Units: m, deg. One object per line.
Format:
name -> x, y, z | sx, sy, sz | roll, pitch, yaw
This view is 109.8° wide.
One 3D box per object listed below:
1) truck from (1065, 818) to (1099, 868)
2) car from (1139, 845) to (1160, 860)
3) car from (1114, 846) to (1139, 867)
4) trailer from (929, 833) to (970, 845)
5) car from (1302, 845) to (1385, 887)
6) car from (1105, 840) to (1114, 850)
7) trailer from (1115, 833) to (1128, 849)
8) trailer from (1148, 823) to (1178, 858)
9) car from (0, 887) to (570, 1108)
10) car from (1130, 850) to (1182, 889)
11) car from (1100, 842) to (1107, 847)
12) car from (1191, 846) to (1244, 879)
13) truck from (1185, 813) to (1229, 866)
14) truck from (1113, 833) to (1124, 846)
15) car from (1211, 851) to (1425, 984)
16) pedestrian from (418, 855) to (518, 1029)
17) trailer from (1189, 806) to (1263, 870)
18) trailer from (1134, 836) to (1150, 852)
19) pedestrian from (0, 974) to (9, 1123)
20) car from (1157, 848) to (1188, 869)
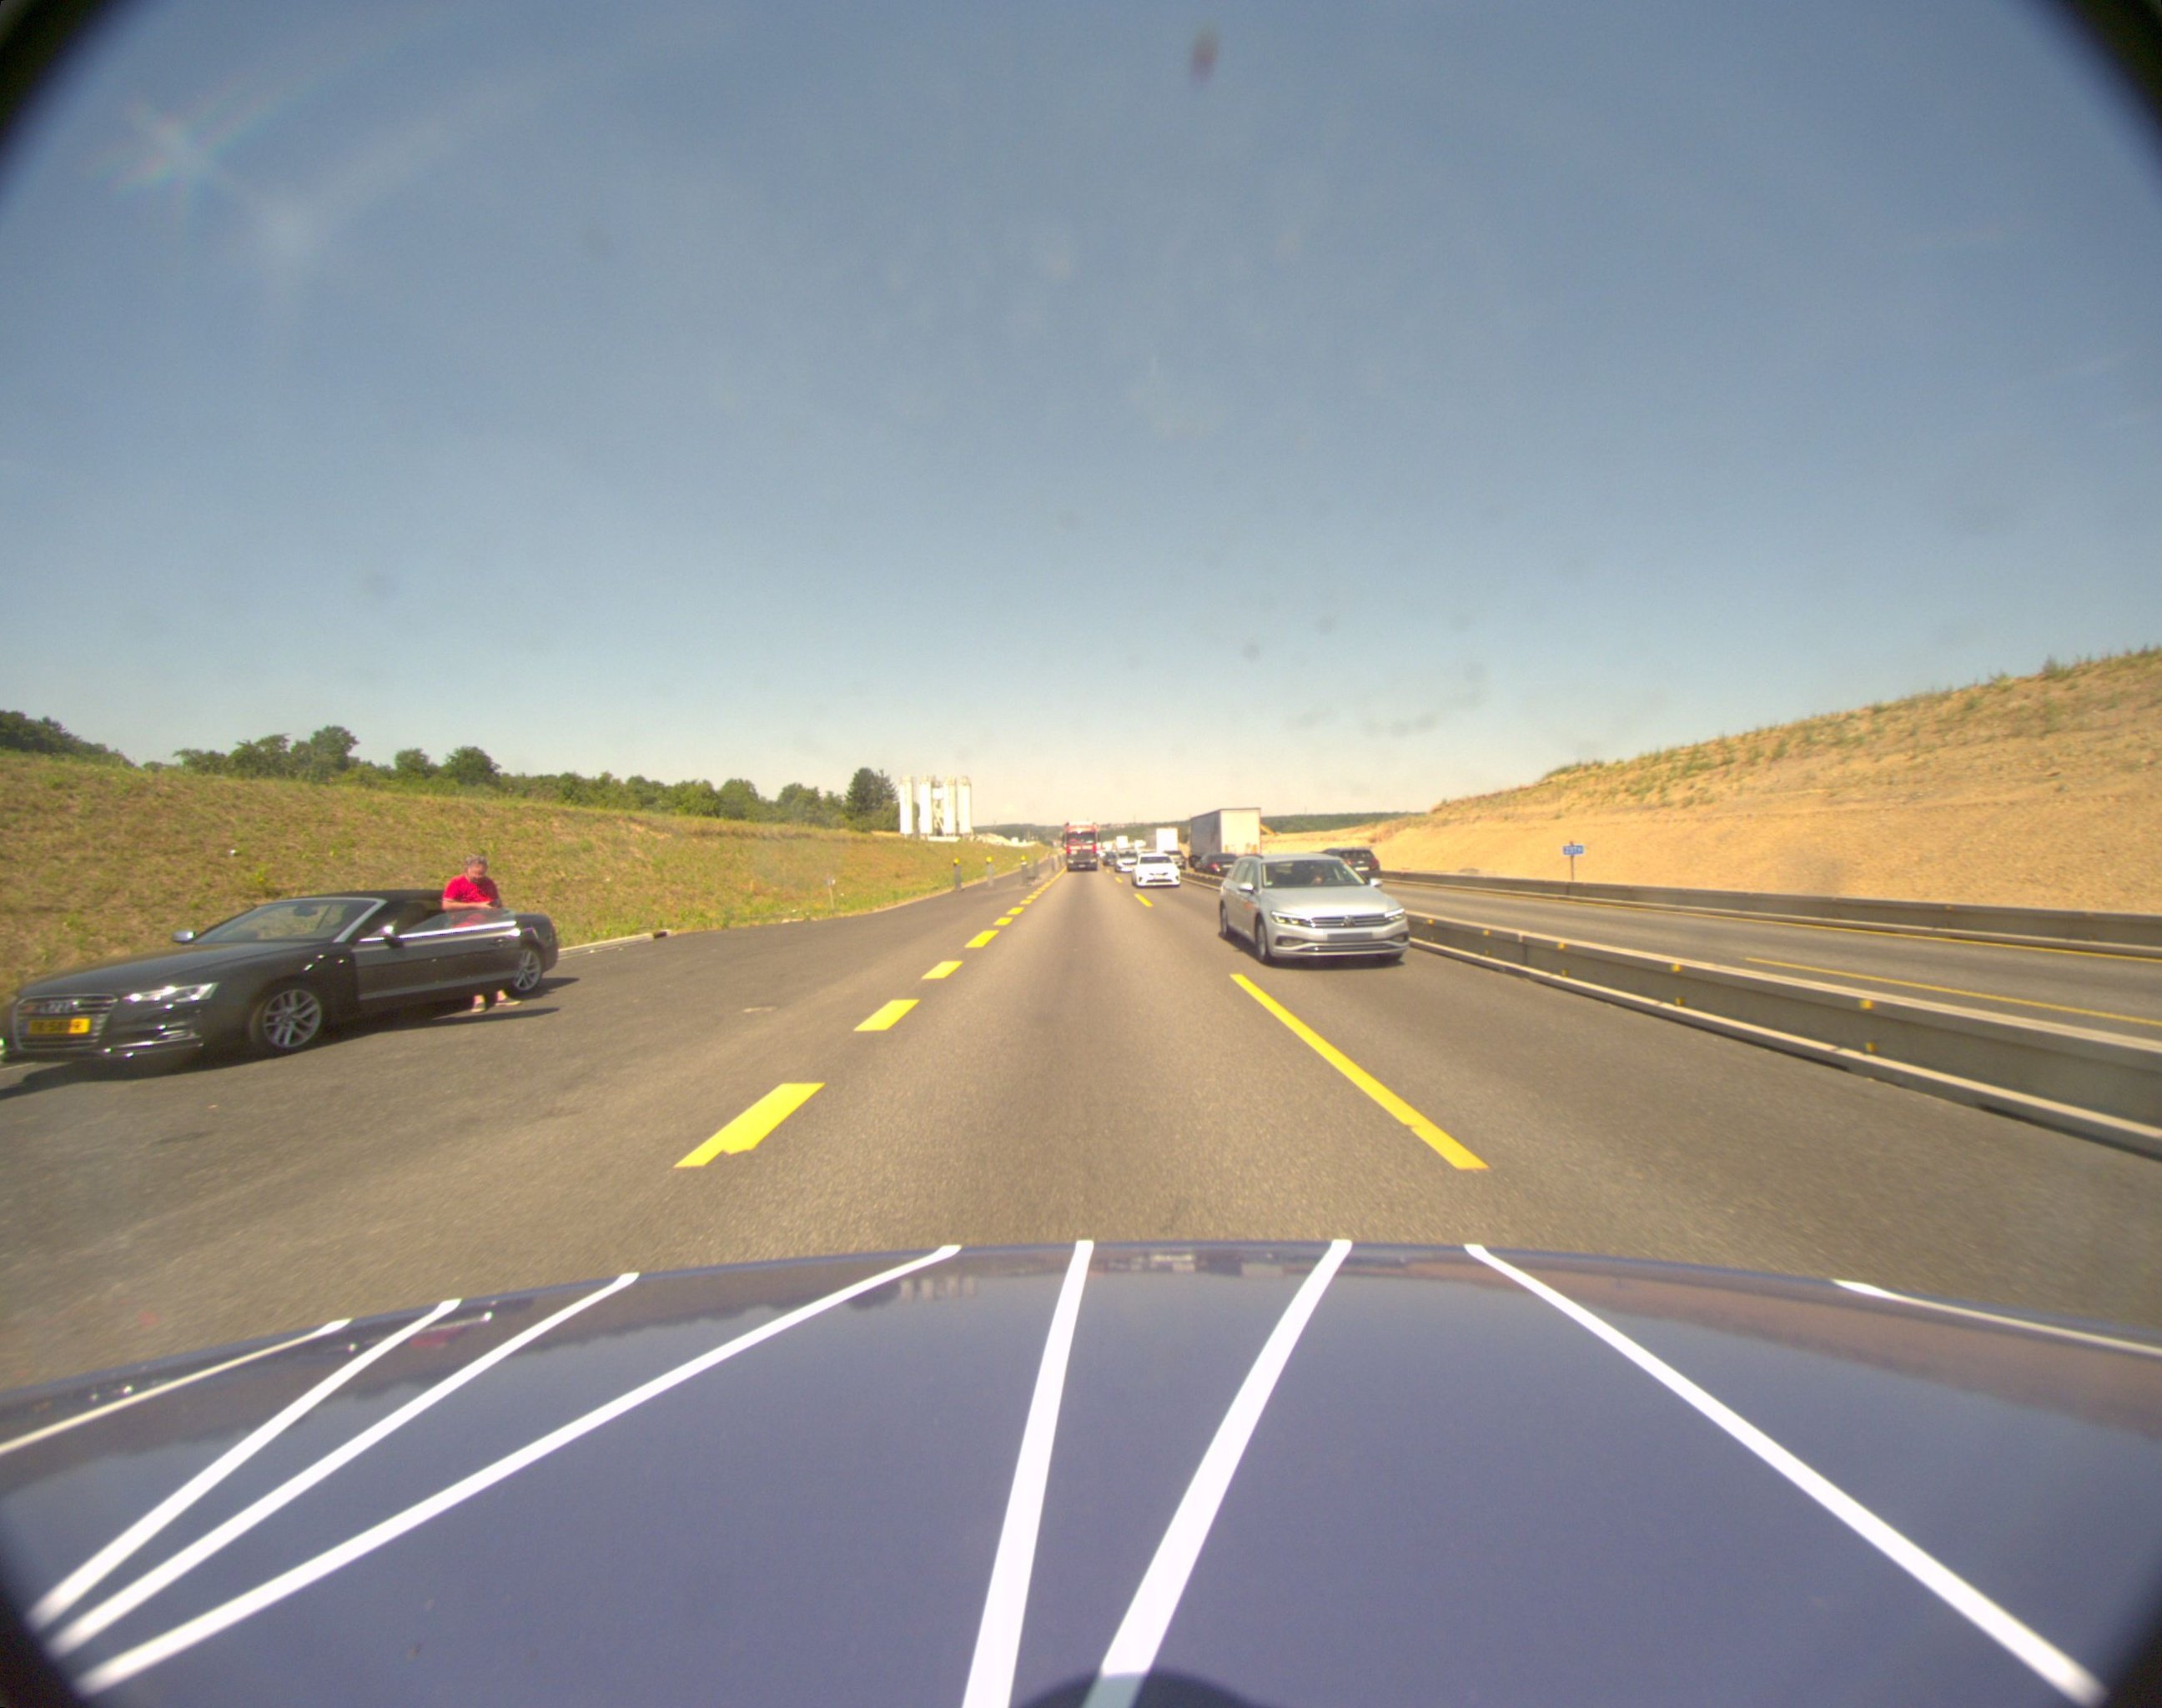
truck -> 0.216, -0.973, 64.479 | 2.537, 3.799, 9.479 | -2, 1, 1
car -> 7.117, -0.186, 79.319 | 1.812, 1.480, 4.242 | -2, 1, 0
car -> 3.302, 0.158, 55.321 | 1.601, 1.390, 3.694 | -2, 1, 1
trailer -> -30.356, -3.452, 175.276 | 8.919, 2.592, 2.463 | -1, 2, -3
car -> 10.181, 0.410, 29.799 | 1.634, 1.416, 4.500 | -2, 1, 0
car -> 7.534, -2.419, 201.290 | 1.999, 2.279, 5.342 | -2, 1, 0
trailer -> 10.415, -3.447, 196.835 | 2.861, 4.070, 13.649 | -1, 1, 0
trailer -> 10.460, -1.687, 98.075 | 2.508, 4.155, 15.531 | 0, 1, 1
car -> -7.703, 1.161, 7.894 | 1.658, 1.418, 4.545 | 0, 0, 1
car -> 3.149, 0.615, 32.516 | 1.875, 1.390, 4.029 | -2, 1, 1
car -> 7.189, -3.181, 244.174 | 1.863, 1.434, 4.498 | -2, 1, -5
car -> 6.685, 0.381, 37.678 | 1.733, 1.379, 4.859 | -2, 1, 0
truck -> 10.164, -1.169, 61.724 | 2.598, 4.030, 5.149 | -2, 1, 0
truck -> 10.890, -4.251, 223.387 | 2.651, 3.695, 9.480 | -2, 1, 1
car -> 3.167, 0.745, 11.079 | 1.804, 1.499, 4.100 | -2, 0, 0
pedestrian -> -6.792, 0.941, 8.453 | 0.643, 1.817, 0.558 | -3, 1, -20
trailer -> 10.090, -1.068, 54.748 | 2.660, 3.915, 13.994 | -2, 1, 1
trailer -> 10.723, -1.746, 134.217 | 2.317, 2.671, 6.754 | 0, 1, -1
pedestrian -> -8.027, 1.029, 5.100 | 0.626, 1.817, 0.642 | -3, 1, -11
car -> 6.846, 0.327, 56.912 | 1.780, 1.546, 4.138 | 0, 1, 0
